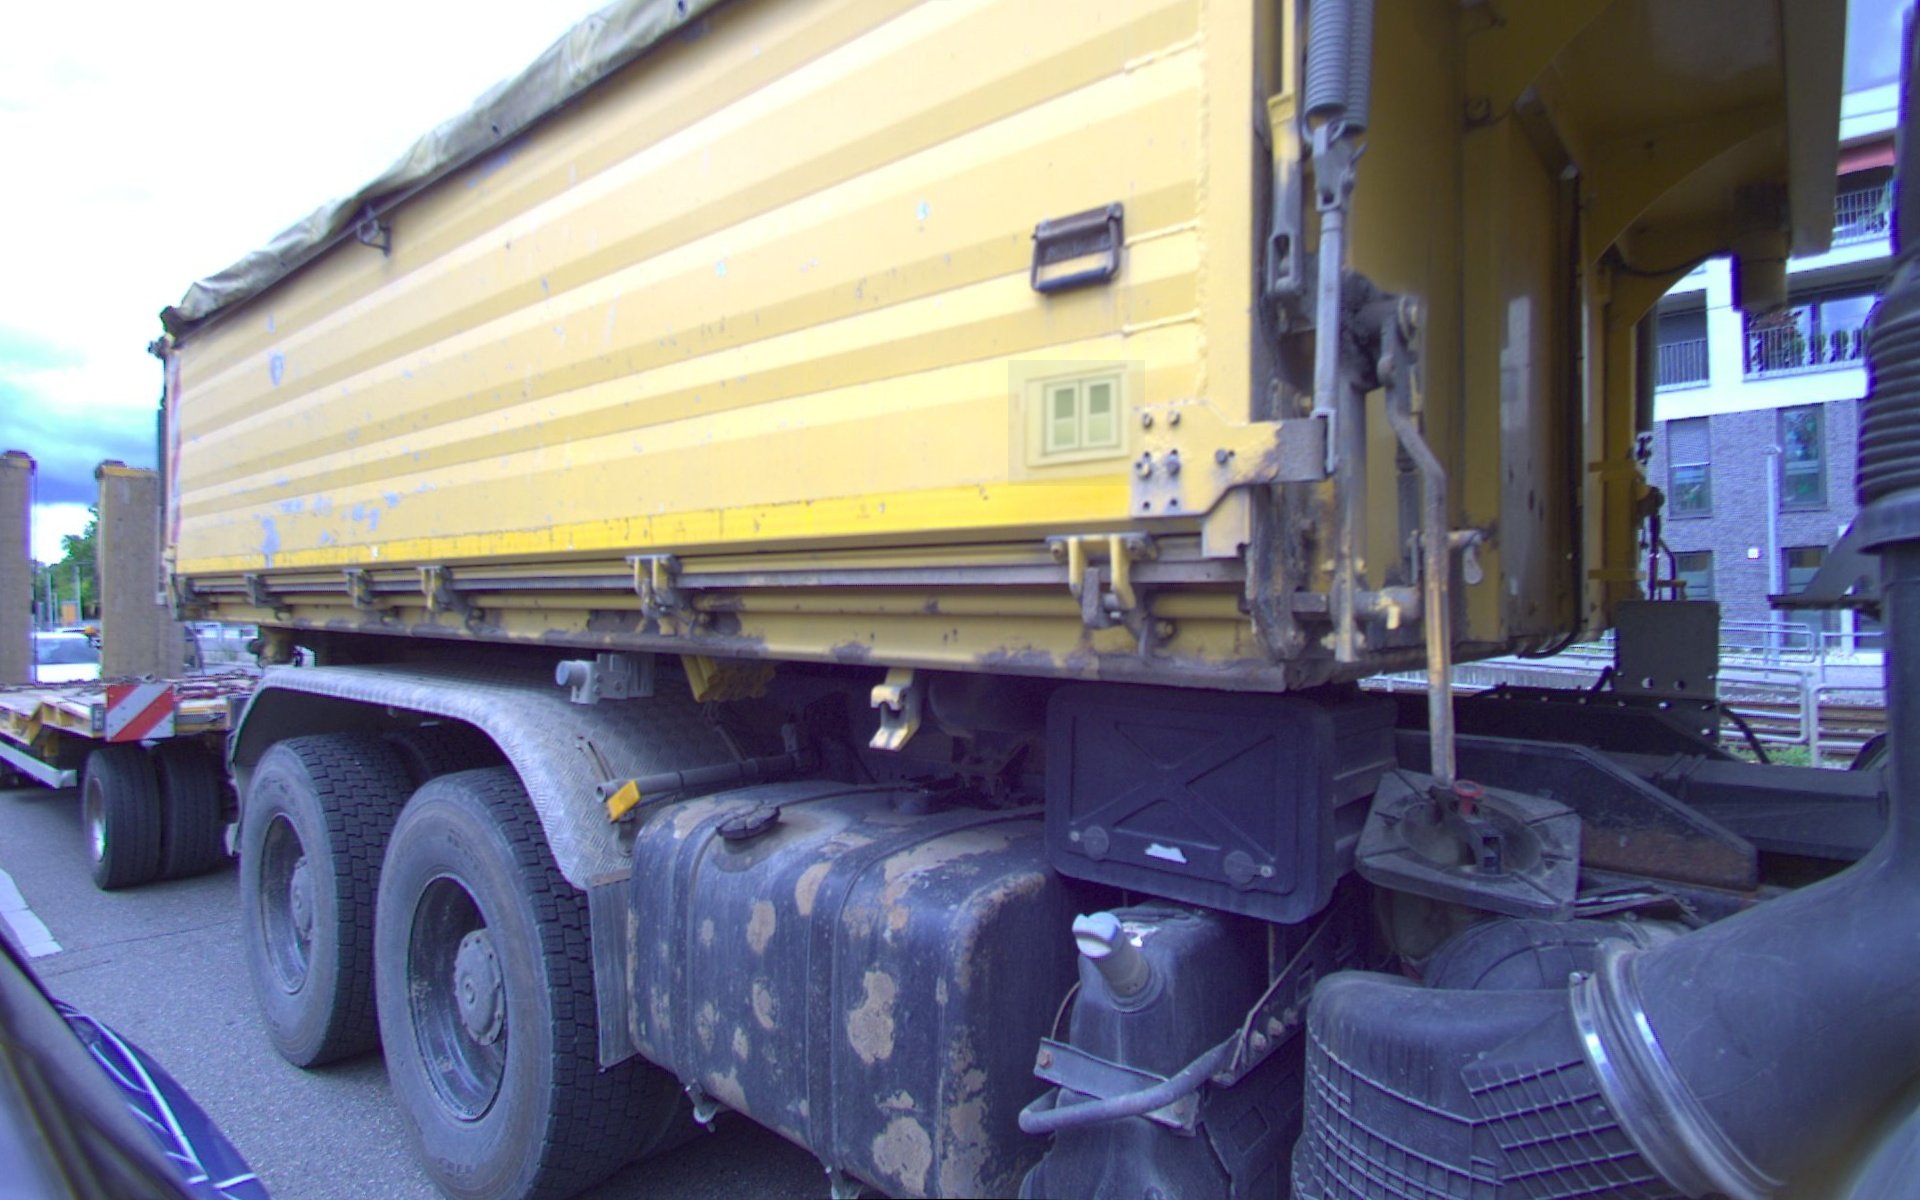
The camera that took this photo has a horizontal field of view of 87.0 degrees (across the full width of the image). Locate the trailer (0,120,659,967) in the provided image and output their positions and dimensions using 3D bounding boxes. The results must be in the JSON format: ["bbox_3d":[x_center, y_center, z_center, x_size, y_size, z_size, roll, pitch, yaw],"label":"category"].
[{"bbox_3d":[-6.857,-0.141,8.856,10.909,3.548,2.678,-2,-1,41],"label":"trailer"}]

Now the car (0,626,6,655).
[{"bbox_3d":[-60.756,2.541,62.798,4.861,1.785,1.863,-2,-1,41],"label":"car"}]

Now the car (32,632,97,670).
[{"bbox_3d":[-37.773,2.115,42.649,4.279,1.452,1.742,-2,-1,44],"label":"car"}]

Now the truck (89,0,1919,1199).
[{"bbox_3d":[0.160,-0.046,2.688,7.775,3.026,2.692,-1,0,41],"label":"truck"}]

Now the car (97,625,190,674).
[{"bbox_3d":[-26.892,1.589,33.282,4.042,1.480,1.758,-2,-1,42],"label":"car"}]

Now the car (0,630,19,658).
[{"bbox_3d":[-52.841,2.397,55.350,3.564,1.469,1.683,-2,-1,41],"label":"car"}]

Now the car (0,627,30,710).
[{"bbox_3d":[-19.599,1.310,19.778,3.998,1.490,1.671,-1,0,41],"label":"car"}]

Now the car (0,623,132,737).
[{"bbox_3d":[-14.175,1.128,15.507,3.998,1.490,1.671,-1,0,41],"label":"car"}]
